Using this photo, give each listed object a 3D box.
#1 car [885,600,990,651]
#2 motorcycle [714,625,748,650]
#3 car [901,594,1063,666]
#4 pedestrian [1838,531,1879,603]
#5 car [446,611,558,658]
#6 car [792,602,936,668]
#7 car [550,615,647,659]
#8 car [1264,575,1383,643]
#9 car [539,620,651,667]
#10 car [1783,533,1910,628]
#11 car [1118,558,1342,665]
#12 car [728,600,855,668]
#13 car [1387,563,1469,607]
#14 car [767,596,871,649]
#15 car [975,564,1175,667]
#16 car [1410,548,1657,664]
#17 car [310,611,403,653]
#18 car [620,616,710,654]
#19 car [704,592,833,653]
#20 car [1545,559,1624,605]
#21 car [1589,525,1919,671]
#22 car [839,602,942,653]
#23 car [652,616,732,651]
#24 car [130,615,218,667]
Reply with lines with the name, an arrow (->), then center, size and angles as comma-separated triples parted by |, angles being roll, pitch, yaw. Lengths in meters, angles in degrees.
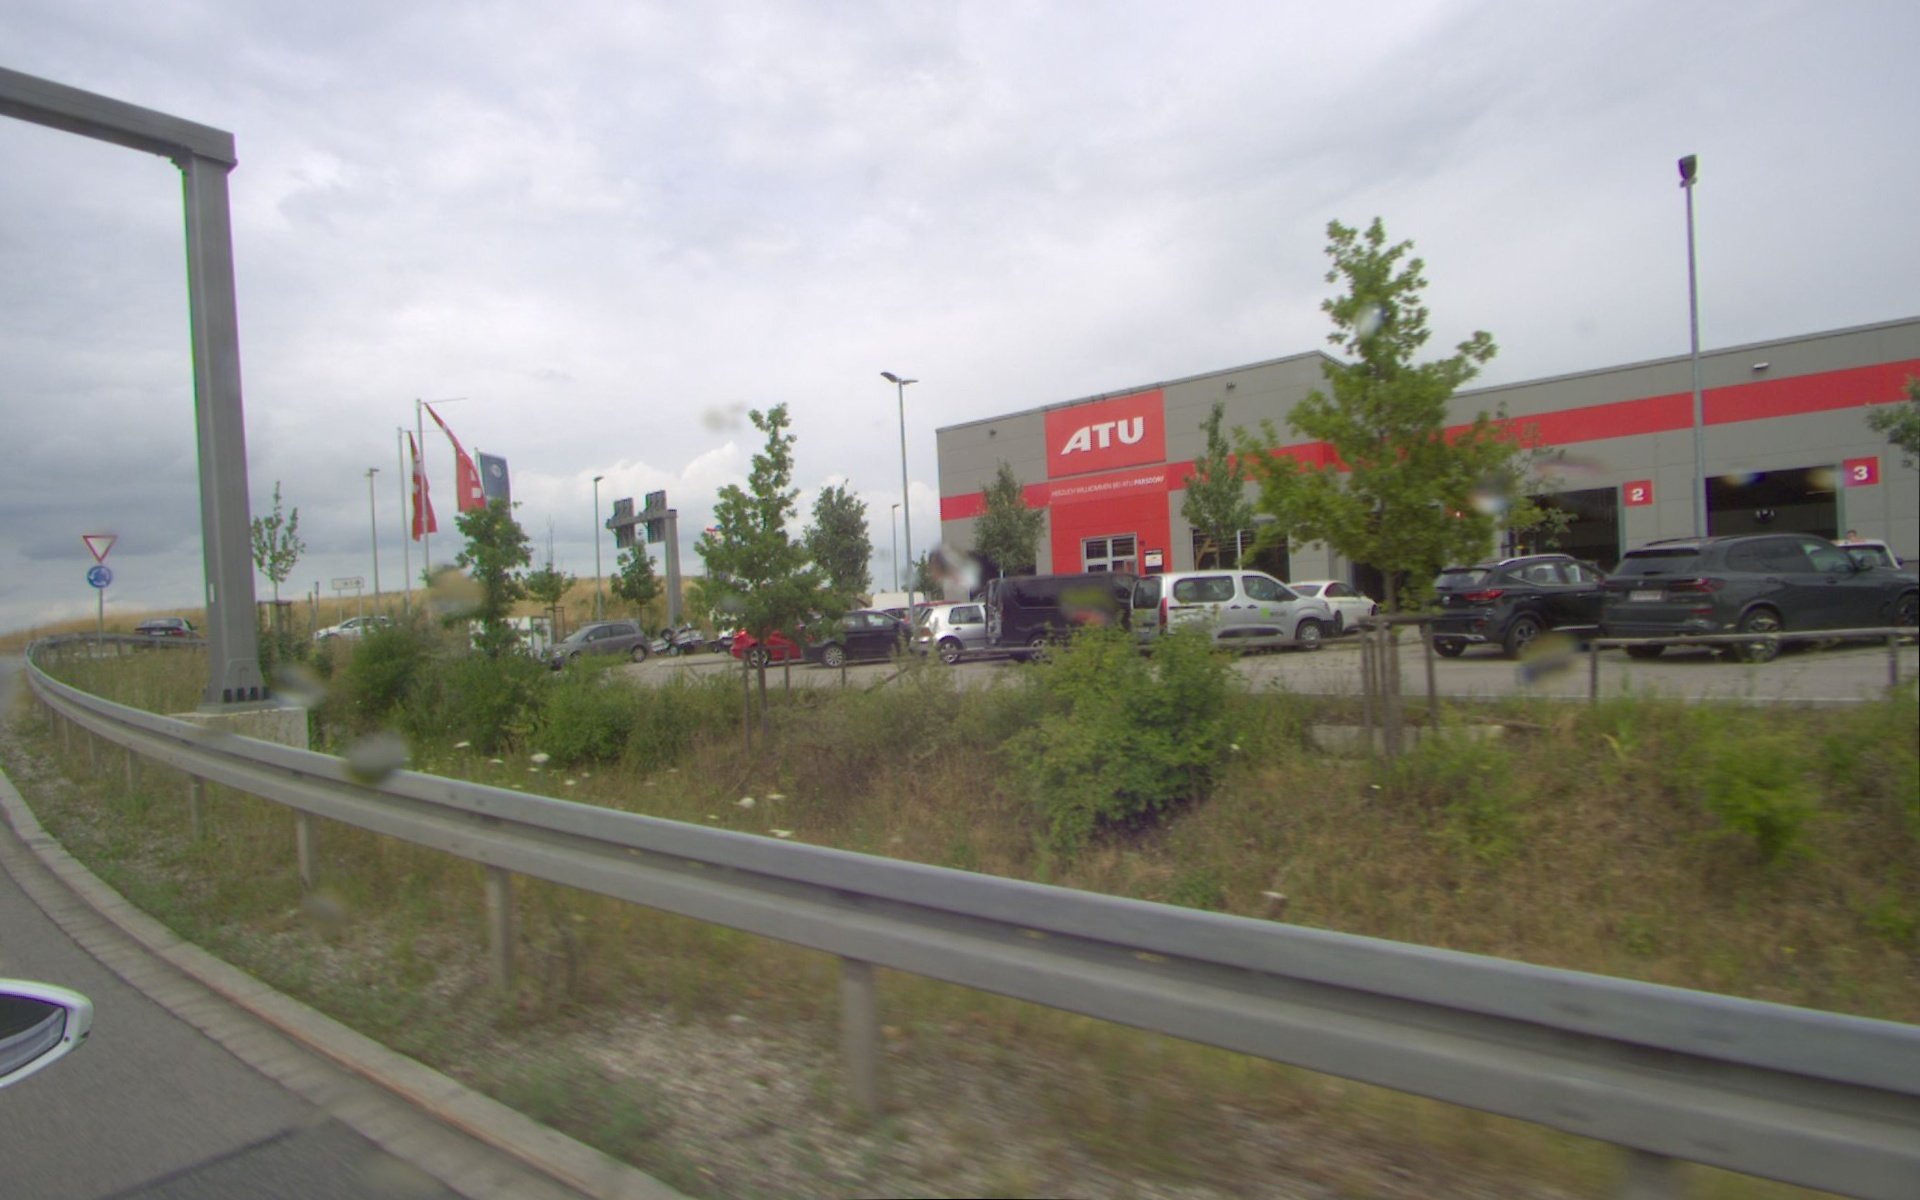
car -> -0.696, 0.813, 33.118 | 1.575, 1.556, 3.586 | -3, -1, 36
motorcycle -> -10.347, 1.690, 45.257 | 0.422, 1.089, 2.346 | -5, -3, 14
car -> 0.519, 0.715, 24.884 | 3.690, 1.461, 1.591 | -4, 1, -11
pedestrian -> 22.718, -0.827, 25.325 | 0.628, 1.765, 0.590 | -2, 1, -29
car -> -17.623, 1.307, 38.584 | 3.514, 1.647, 1.645 | -2, 0, 6
car -> -2.588, 0.903, 26.660 | 3.570, 1.439, 1.612 | -4, 1, -12
car -> -15.250, 1.545, 42.288 | 3.519, 1.716, 1.643 | -2, 0, 17
car -> 9.143, 0.192, 25.045 | 1.577, 1.408, 3.935 | -3, 1, 39
car -> -13.630, 1.594, 37.505 | 1.486, 1.501, 3.646 | -4, -1, 38
car -> 16.634, -0.409, 18.926 | 1.577, 1.581, 3.740 | -3, 1, 39
car -> 5.635, 0.209, 21.049 | 4.117, 1.867, 1.829 | -4, 1, -15
car -> -4.850, 0.945, 28.810 | 3.397, 1.646, 1.549 | -4, 1, -12
car -> 17.303, -0.541, 36.953 | 1.775, 1.536, 3.881 | 1, 1, 40
car -> -4.941, 0.769, 35.452 | 1.575, 1.758, 3.586 | -3, -1, 36
car -> 2.563, 0.333, 22.814 | 4.051, 1.976, 1.880 | -4, 0, -10
car -> 9.751, 0.071, 17.046 | 3.644, 1.652, 1.645 | -4, 1, -20
car -> -32.835, 1.724, 54.521 | 4.010, 2.040, 1.777 | -2, 0, -44
car -> -13.457, 1.591, 45.723 | 3.593, 1.567, 1.693 | -2, 0, 17
car -> -7.026, 0.850, 37.310 | 1.885, 2.079, 4.788 | -3, -2, 34
car -> 20.964, -0.578, 33.557 | 1.668, 1.460, 3.568 | 1, 1, 42
car -> 11.914, -0.075, 14.795 | 4.467, 1.757, 1.830 | -4, 1, -14
car -> -2.328, 0.923, 34.316 | 1.575, 1.597, 3.586 | -3, -1, 36
car -> -12.963, 1.626, 48.472 | 3.376, 1.567, 1.643 | -2, 0, 17
car -> -30.554, 1.538, 39.043 | 1.631, 1.862, 3.945 | -2, 0, -23
